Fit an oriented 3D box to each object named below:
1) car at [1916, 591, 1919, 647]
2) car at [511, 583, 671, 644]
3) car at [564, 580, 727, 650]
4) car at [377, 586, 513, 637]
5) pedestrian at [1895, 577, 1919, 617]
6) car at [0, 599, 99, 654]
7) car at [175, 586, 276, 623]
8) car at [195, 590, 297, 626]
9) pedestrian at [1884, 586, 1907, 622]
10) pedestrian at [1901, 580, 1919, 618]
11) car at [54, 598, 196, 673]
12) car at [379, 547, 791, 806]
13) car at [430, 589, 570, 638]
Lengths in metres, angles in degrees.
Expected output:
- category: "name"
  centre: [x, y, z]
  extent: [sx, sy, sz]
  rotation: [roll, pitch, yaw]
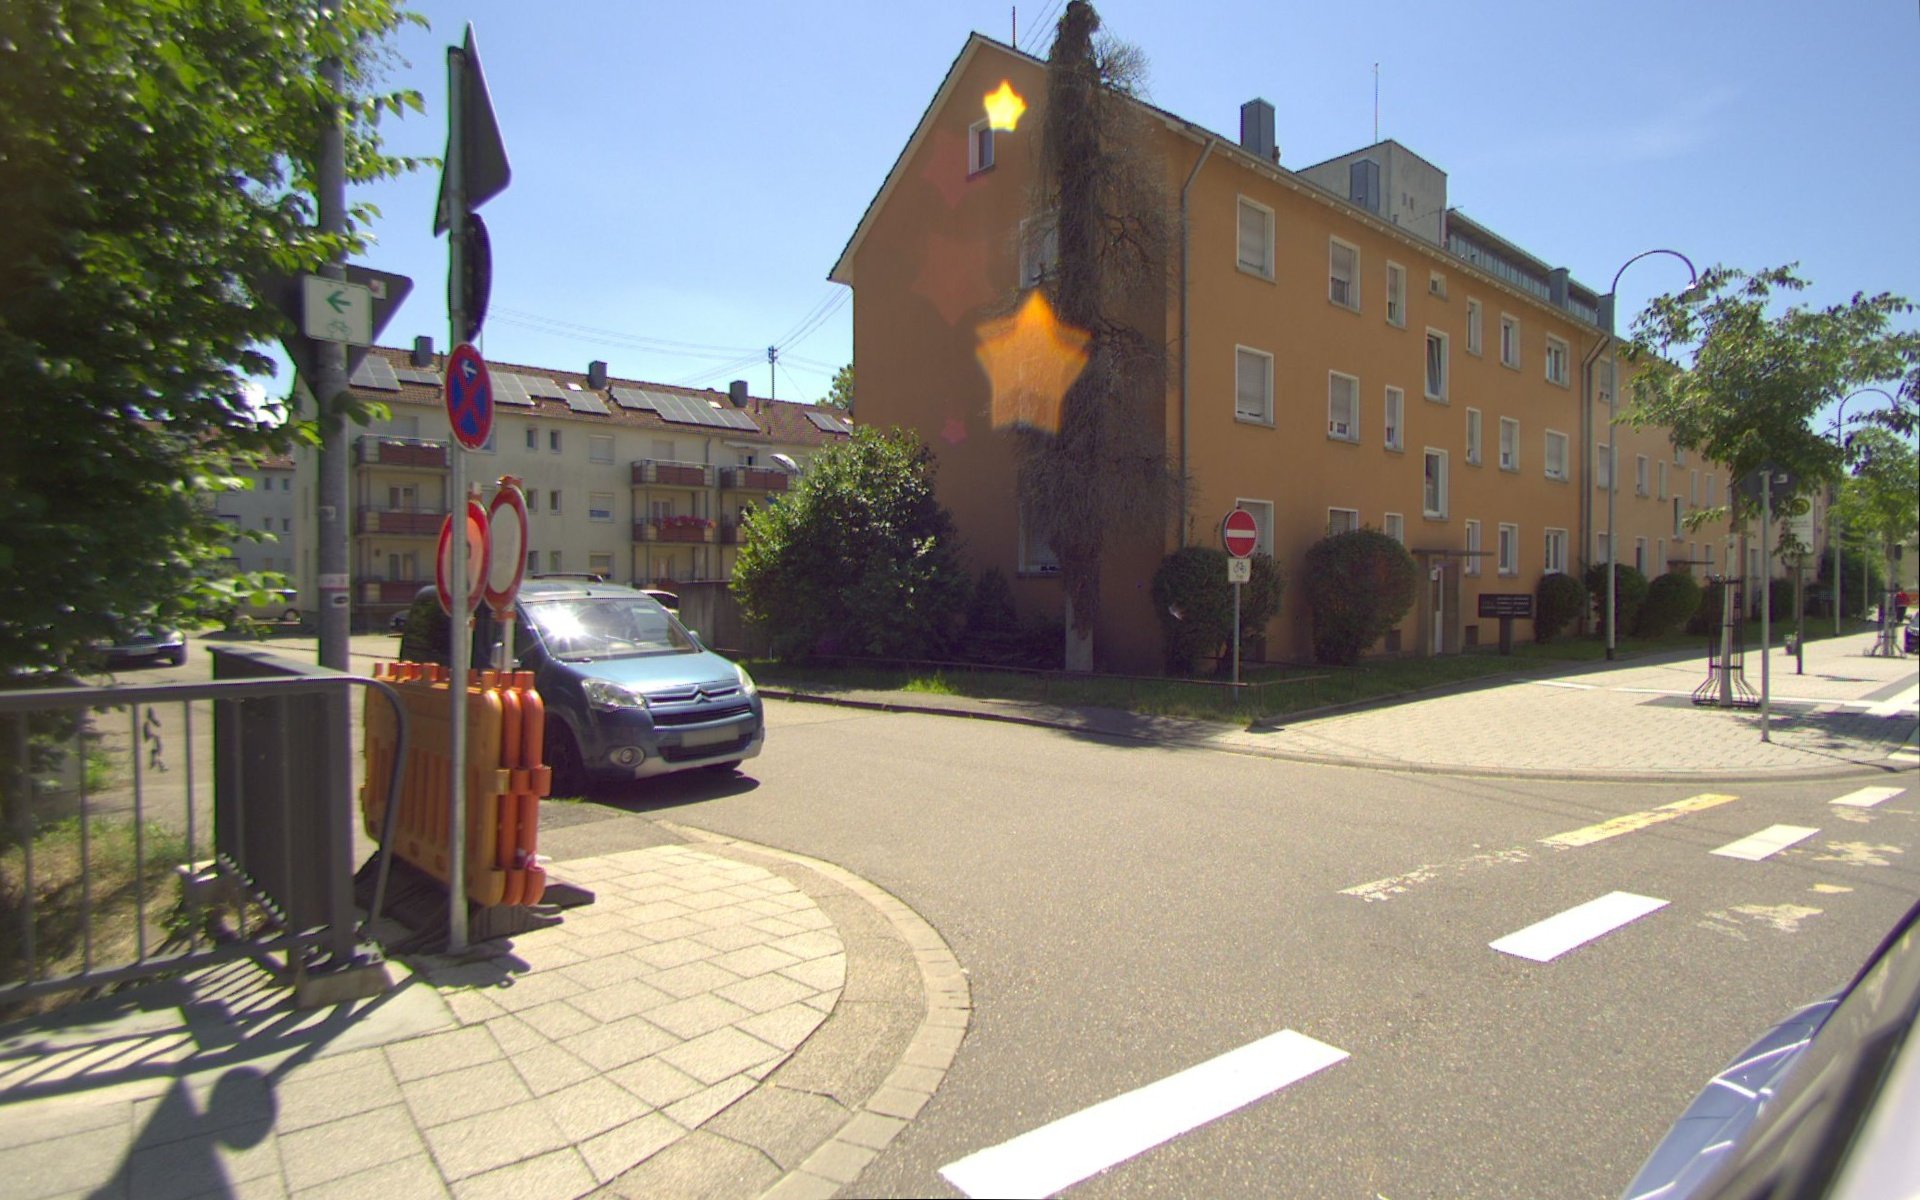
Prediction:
- category: "car"
  centre: [28.693, 0.541, 28.724]
  extent: [4.976, 1.522, 1.837]
  rotation: [0, 3, -42]
- category: "car"
  centre: [-10.689, 0.346, 29.512]
  extent: [1.989, 1.650, 3.946]
  rotation: [0, 1, 38]
- category: "car"
  centre: [-8.716, 0.352, 28.302]
  extent: [1.989, 1.806, 3.946]
  rotation: [0, 1, 38]
- category: "car"
  centre: [-18.330, 0.352, 36.105]
  extent: [3.934, 1.713, 1.968]
  rotation: [-1, 1, -44]
- category: "pedestrian"
  centre: [44.894, -0.166, 47.971]
  extent: [0.821, 1.877, 0.968]
  rotation: [1, 0, 45]
- category: "car"
  centre: [-25.853, 0.712, 28.464]
  extent: [4.494, 1.398, 1.881]
  rotation: [-1, 0, 41]
- category: "car"
  centre: [-37.278, 0.207, 51.389]
  extent: [3.934, 1.806, 1.995]
  rotation: [-1, 1, -44]
- category: "car"
  centre: [-35.482, 0.353, 50.333]
  extent: [3.934, 1.706, 1.995]
  rotation: [-1, 1, -44]
- category: "pedestrian"
  centre: [47.073, 0.179, 50.936]
  extent: [0.794, 1.801, 0.992]
  rotation: [1, 1, 45]
- category: "pedestrian"
  centre: [47.233, -0.072, 50.125]
  extent: [0.788, 1.833, 0.990]
  rotation: [4, 3, 45]
- category: "car"
  centre: [-18.842, 0.718, 22.764]
  extent: [4.494, 1.440, 1.735]
  rotation: [0, 3, 41]
- category: "car"
  centre: [-3.640, 0.569, 9.390]
  extent: [4.332, 1.862, 1.724]
  rotation: [-1, 0, 41]
- category: "car"
  centre: [-15.815, 0.420, 34.918]
  extent: [1.989, 1.583, 3.946]
  rotation: [0, 1, 38]
